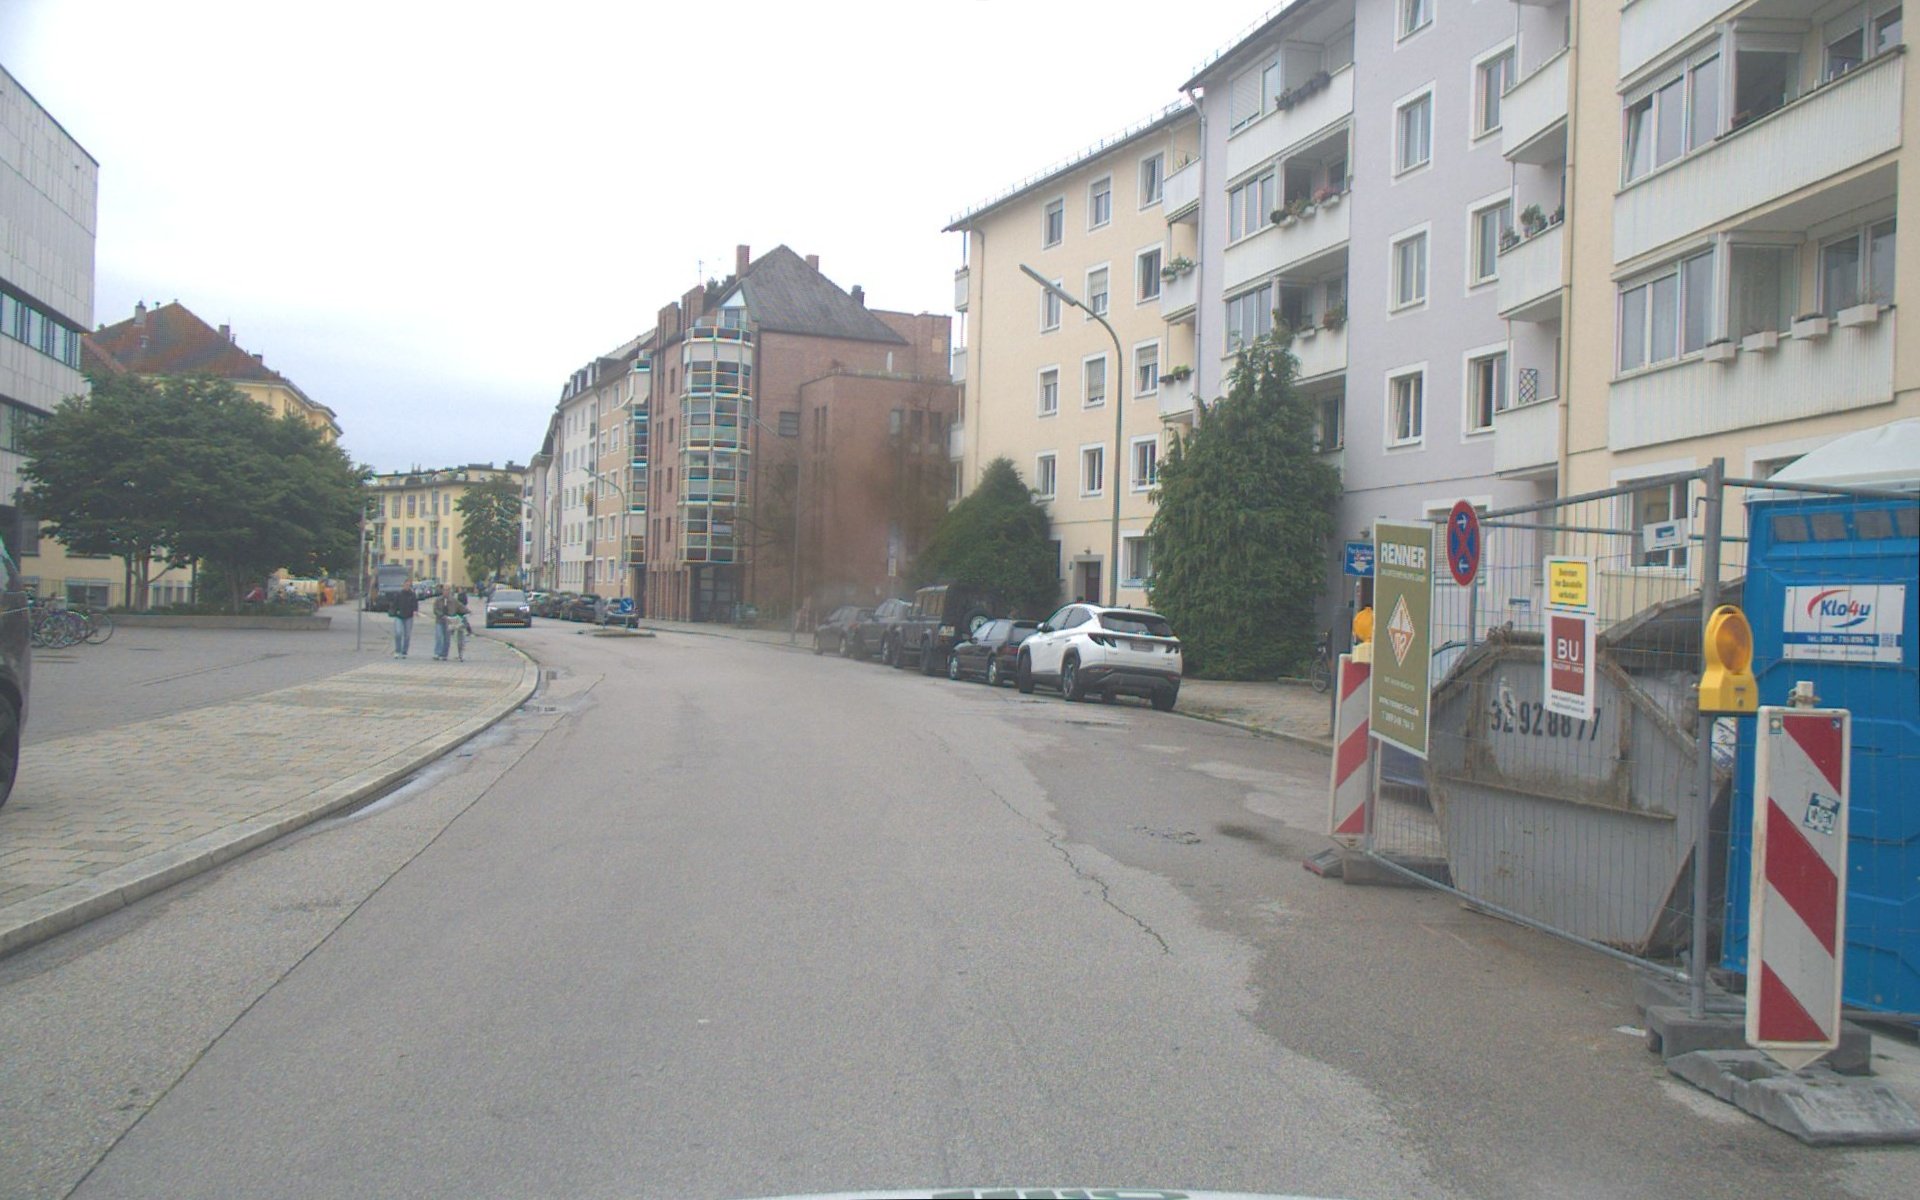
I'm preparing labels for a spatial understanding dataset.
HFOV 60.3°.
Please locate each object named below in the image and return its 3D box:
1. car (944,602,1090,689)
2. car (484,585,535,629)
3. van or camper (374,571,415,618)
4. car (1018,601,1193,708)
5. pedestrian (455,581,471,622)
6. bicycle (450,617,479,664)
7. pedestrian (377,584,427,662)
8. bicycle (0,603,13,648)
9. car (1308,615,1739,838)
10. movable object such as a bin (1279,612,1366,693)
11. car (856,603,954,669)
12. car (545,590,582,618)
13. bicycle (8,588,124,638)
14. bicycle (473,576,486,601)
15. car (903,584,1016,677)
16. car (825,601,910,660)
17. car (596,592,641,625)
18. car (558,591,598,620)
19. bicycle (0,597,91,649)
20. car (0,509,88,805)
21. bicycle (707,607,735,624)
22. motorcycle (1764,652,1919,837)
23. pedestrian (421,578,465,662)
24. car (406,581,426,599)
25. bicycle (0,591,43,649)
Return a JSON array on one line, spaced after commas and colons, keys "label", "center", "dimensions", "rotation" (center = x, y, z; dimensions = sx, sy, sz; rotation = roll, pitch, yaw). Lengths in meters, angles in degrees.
[{"label": "car", "center": [1.092, 0.884, 33.323], "dimensions": [1.753, 1.545, 3.702], "rotation": [3, 0, -18]}, {"label": "car", "center": [-20.244, 0.301, 74.237], "dimensions": [1.963, 1.867, 4.146], "rotation": [2, 0, -18]}, {"label": "van or camper", "center": [-33.040, -0.326, 96.655], "dimensions": [2.064, 2.595, 4.747], "rotation": [2, 0, -18]}, {"label": "car", "center": [2.413, 0.885, 28.449], "dimensions": [1.799, 1.601, 3.986], "rotation": [2, 0, -13]}, {"label": "pedestrian", "center": [-18.190, 0.057, 60.515], "dimensions": [0.453, 1.486, 0.441], "rotation": [2, -2, -10]}, {"label": "bicycle", "center": [-10.980, 0.889, 36.663], "dimensions": [0.382, 0.986, 1.711], "rotation": [2, 0, -10]}, {"label": "pedestrian", "center": [-12.282, 0.499, 36.447], "dimensions": [0.746, 1.658, 0.920], "rotation": [2, 0, -1]}, {"label": "bicycle", "center": [-18.655, 0.414, 30.830], "dimensions": [1.623, 0.811, 0.524], "rotation": [6, -2, -24]}, {"label": "car", "center": [4.429, 0.916, 13.773], "dimensions": [1.747, 1.464, 4.276], "rotation": [2, 0, -6]}, {"label": "movable object such as a bin", "center": [7.027, 1.008, 32.074], "dimensions": [1.268, 1.459, 1.047], "rotation": [-3, 1, -14]}, {"label": "car", "center": [-1.468, 0.907, 42.874], "dimensions": [1.751, 1.536, 3.707], "rotation": [3, 0, -14]}, {"label": "car", "center": [-22.989, 0.230, 95.839], "dimensions": [1.609, 1.509, 3.588], "rotation": [2, 0, -21]}, {"label": "bicycle", "center": [-19.778, 0.287, 36.640], "dimensions": [2.086, 0.894, 0.823], "rotation": [6, -2, -22]}, {"label": "bicycle", "center": [-44.603, -1.009, 153.452], "dimensions": [1.009, 2.049, 3.265], "rotation": [2, -4, -16]}, {"label": "car", "center": [-0.066, 0.652, 37.599], "dimensions": [1.751, 2.011, 3.707], "rotation": [0, 0, -14]}, {"label": "car", "center": [-2.684, 0.842, 47.170], "dimensions": [1.751, 1.537, 3.707], "rotation": [2, 0, -14]}, {"label": "car", "center": [-16.841, 0.391, 81.492], "dimensions": [1.609, 1.509, 3.588], "rotation": [2, 0, -21]}, {"label": "car", "center": [-21.073, 0.283, 91.123], "dimensions": [1.609, 1.509, 3.588], "rotation": [3, 0, -21]}, {"label": "bicycle", "center": [-18.934, 0.452, 33.733], "dimensions": [2.002, 0.901, 0.671], "rotation": [6, -2, -22]}, {"label": "car", "center": [-6.559, 0.302, 8.529], "dimensions": [2.013, 1.766, 4.877], "rotation": [2, -1, -8]}, {"label": "bicycle", "center": [-12.953, 0.849, 89.656], "dimensions": [1.086, 0.869, 1.715], "rotation": [3, 0, -24]}, {"label": "motorcycle", "center": [7.238, 1.079, 12.461], "dimensions": [0.914, 1.242, 2.504], "rotation": [2, 0, -6]}, {"label": "pedestrian", "center": [-11.405, 0.440, 36.515], "dimensions": [0.721, 1.799, 0.919], "rotation": [2, 0, -7]}, {"label": "car", "center": [-49.205, -0.906, 149.638], "dimensions": [1.607, 1.509, 3.594], "rotation": [2, 0, -17]}, {"label": "bicycle", "center": [-18.840, 0.339, 32.065], "dimensions": [1.704, 1.050, 0.524], "rotation": [6, -2, -24]}]
